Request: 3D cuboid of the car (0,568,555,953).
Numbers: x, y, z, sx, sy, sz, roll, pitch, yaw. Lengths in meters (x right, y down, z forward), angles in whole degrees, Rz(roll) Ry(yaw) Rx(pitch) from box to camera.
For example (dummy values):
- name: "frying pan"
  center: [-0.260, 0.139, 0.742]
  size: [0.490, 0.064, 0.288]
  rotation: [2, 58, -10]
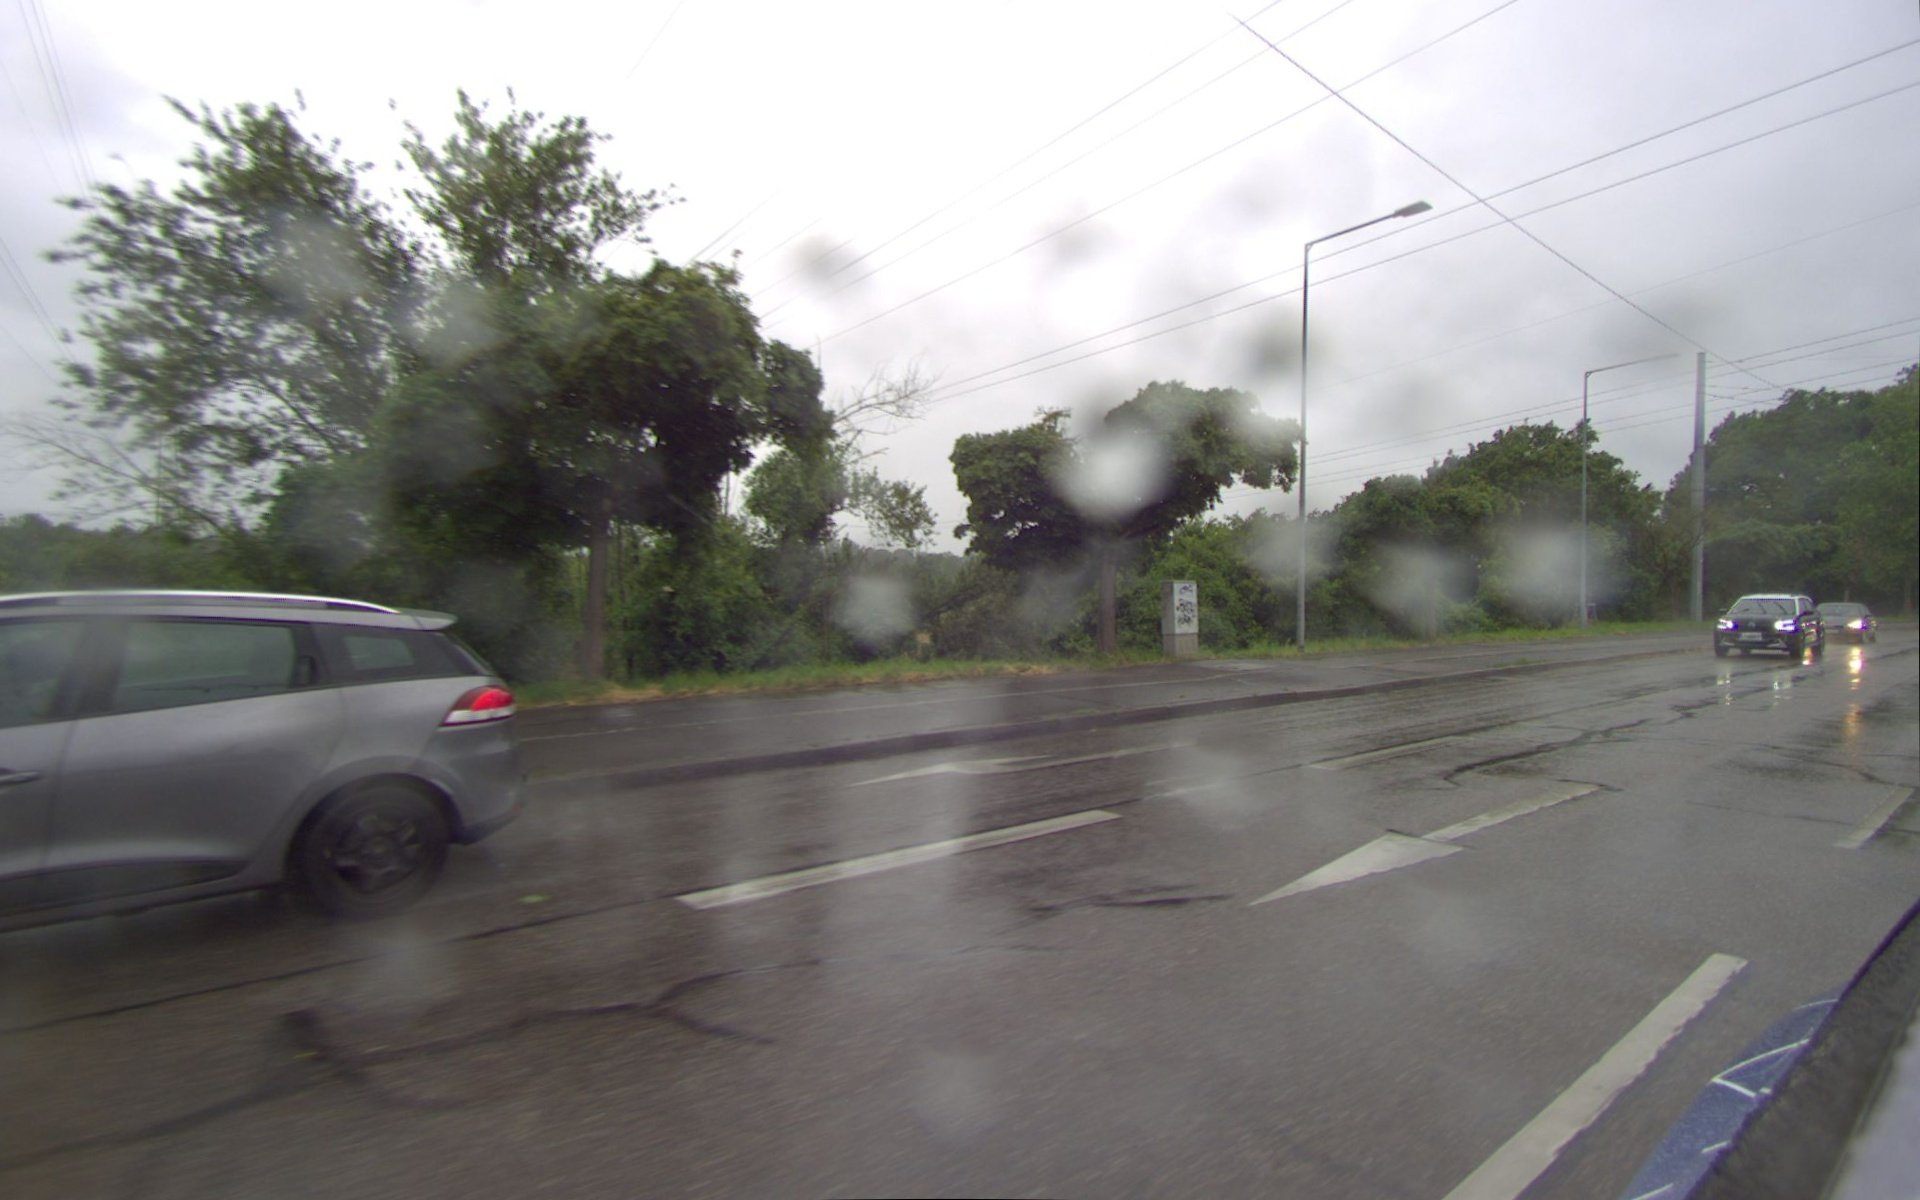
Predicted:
- name: "car"
  center: [-4.159, 0.571, 4.238]
  size: [4.201, 1.374, 1.891]
  rotation: [1, -1, -40]

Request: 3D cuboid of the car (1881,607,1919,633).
- name: "car"
  center: [54.808, 1.145, 58.512]
  size: [3.928, 1.445, 1.783]
  rotation: [1, 0, -40]

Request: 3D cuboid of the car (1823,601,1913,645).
- name: "car"
  center: [31.750, 0.780, 35.353]
  size: [3.928, 1.445, 1.783]
  rotation: [1, 0, -40]

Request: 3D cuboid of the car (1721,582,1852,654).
- name: "car"
  center: [21.705, 0.449, 26.510]
  size: [4.678, 1.724, 1.796]
  rotation: [1, -1, -40]
